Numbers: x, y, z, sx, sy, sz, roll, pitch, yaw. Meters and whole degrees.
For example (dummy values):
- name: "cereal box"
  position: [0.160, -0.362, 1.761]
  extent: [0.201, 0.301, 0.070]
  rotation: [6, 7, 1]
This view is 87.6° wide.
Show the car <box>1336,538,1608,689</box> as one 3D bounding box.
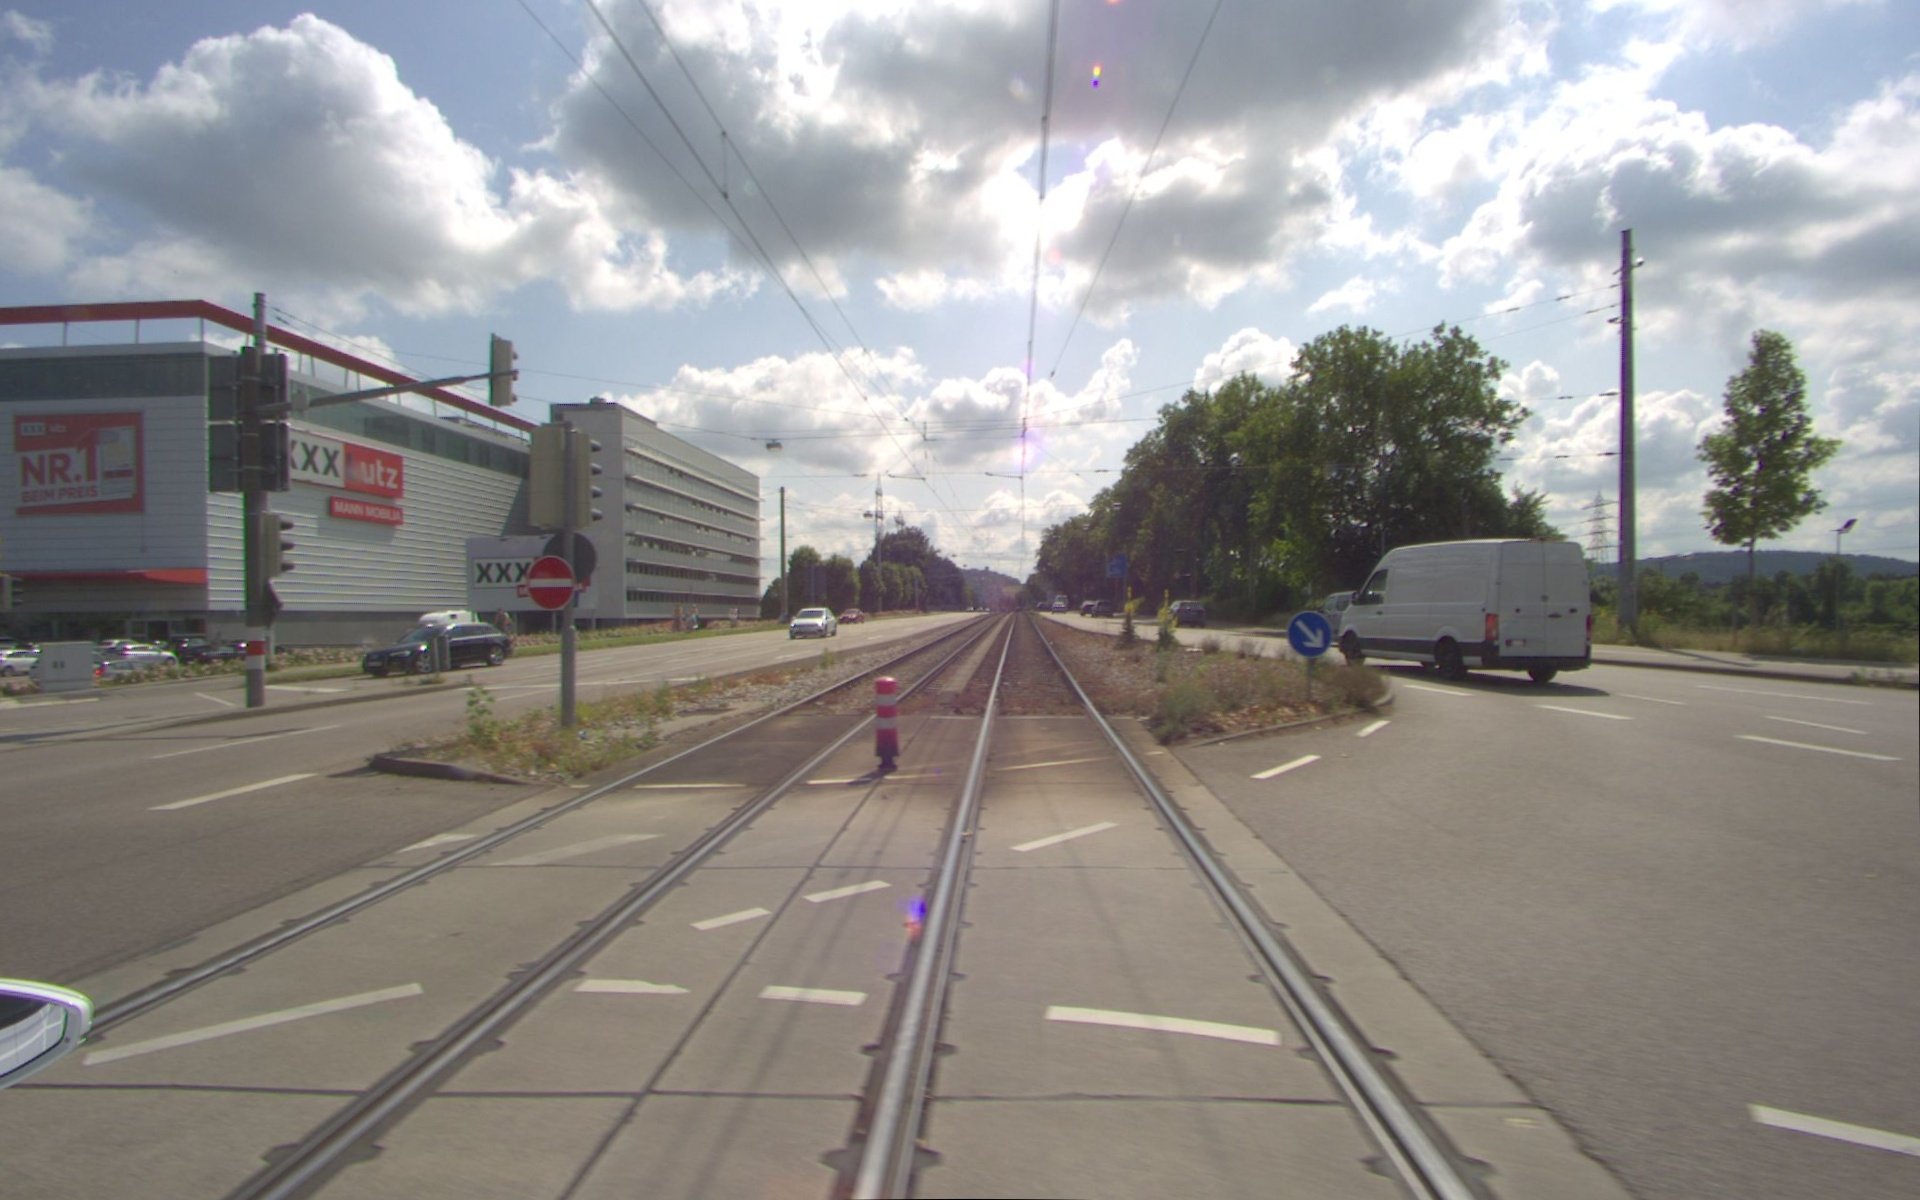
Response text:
- name: "car"
  position: [9.670, 0.203, 19.635]
  extent: [1.922, 2.525, 5.586]
  rotation: [1, 1, -7]

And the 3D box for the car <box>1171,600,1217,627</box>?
- name: "car"
  position: [13.571, 0.804, 58.291]
  extent: [1.834, 1.460, 3.823]
  rotation: [0, -2, 1]

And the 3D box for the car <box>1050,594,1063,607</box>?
- name: "car"
  position: [17.732, 0.084, 184.227]
  extent: [2.107, 2.389, 5.483]
  rotation: [-1, 0, 1]

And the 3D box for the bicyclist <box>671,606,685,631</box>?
- name: "bicyclist"
  position: [-17.693, 1.151, 62.894]
  extent: [0.609, 1.555, 0.697]
  rotation: [0, -1, 9]

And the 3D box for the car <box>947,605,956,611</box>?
- name: "car"
  position: [-1.998, 1.793, 233.471]
  extent: [1.715, 1.378, 4.248]
  rotation: [-1, 0, 4]

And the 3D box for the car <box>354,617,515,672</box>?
- name: "car"
  position: [-16.173, 1.316, 31.062]
  extent: [1.884, 1.502, 4.190]
  rotation: [-1, 0, 22]

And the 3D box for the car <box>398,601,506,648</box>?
- name: "car"
  position: [-37.082, 1.712, 73.456]
  extent: [3.062, 3.196, 7.902]
  rotation: [-1, 0, 8]

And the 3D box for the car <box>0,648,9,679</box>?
- name: "car"
  position: [-46.428, 2.994, 45.582]
  extent: [1.811, 1.446, 4.372]
  rotation: [0, 0, 7]

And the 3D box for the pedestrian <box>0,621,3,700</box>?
- name: "pedestrian"
  position: [-21.577, 1.349, 21.869]
  extent: [0.688, 1.750, 0.688]
  rotation: [-2, 0, 16]

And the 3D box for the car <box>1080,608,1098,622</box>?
- name: "car"
  position: [13.586, 1.603, 105.831]
  extent: [1.606, 1.382, 3.745]
  rotation: [0, -2, 3]

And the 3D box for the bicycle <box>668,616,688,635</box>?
- name: "bicycle"
  position: [-17.694, 1.601, 62.887]
  extent: [0.609, 1.180, 1.505]
  rotation: [0, -2, 9]

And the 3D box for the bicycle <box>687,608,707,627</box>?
- name: "bicycle"
  position: [-17.455, 1.163, 66.480]
  extent: [0.654, 0.974, 1.693]
  rotation: [-8, 5, 6]

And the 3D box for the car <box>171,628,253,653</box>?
- name: "car"
  position: [-45.324, 2.467, 60.774]
  extent: [1.882, 1.459, 4.002]
  rotation: [-1, -2, 3]

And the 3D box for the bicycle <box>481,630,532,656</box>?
- name: "bicycle"
  position: [-19.302, 1.829, 42.645]
  extent: [0.717, 1.075, 2.214]
  rotation: [-1, -2, 16]

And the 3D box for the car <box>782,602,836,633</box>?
- name: "car"
  position: [-7.480, 0.883, 50.006]
  extent: [1.975, 1.431, 4.498]
  rotation: [-1, -1, 0]

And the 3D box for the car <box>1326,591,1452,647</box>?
- name: "car"
  position: [13.302, 0.640, 31.334]
  extent: [1.961, 1.638, 4.001]
  rotation: [0, -2, -4]

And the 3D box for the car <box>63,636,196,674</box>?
- name: "car"
  position: [-36.813, 2.404, 44.538]
  extent: [2.009, 1.427, 4.372]
  rotation: [-1, 0, 7]

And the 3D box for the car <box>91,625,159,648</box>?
- name: "car"
  position: [-60.634, 2.647, 72.773]
  extent: [1.648, 1.543, 3.652]
  rotation: [-1, 0, 5]

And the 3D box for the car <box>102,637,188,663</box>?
- name: "car"
  position: [-49.885, 3.033, 61.393]
  extent: [1.882, 1.549, 4.002]
  rotation: [0, -2, 3]

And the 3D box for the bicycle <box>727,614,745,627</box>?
- name: "bicycle"
  position: [-16.750, 1.531, 74.836]
  extent: [0.585, 0.973, 1.988]
  rotation: [0, -2, 10]

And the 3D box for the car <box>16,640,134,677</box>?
- name: "car"
  position: [-42.429, 2.755, 48.137]
  extent: [1.817, 1.608, 4.239]
  rotation: [0, -1, 2]

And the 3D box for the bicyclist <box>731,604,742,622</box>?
- name: "bicyclist"
  position: [-16.741, 0.981, 74.963]
  extent: [0.581, 1.342, 0.687]
  rotation: [0, -1, 10]

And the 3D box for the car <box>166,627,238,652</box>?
- name: "car"
  position: [-55.007, 2.837, 72.758]
  extent: [1.961, 1.761, 4.001]
  rotation: [0, -2, 7]

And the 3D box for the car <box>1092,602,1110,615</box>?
- name: "car"
  position: [13.453, 0.790, 95.658]
  extent: [1.399, 1.154, 3.398]
  rotation: [0, -2, 2]

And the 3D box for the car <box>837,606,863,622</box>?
- name: "car"
  position: [-10.539, 1.354, 96.210]
  extent: [1.715, 1.378, 4.250]
  rotation: [-2, -1, 4]

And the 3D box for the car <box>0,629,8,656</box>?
- name: "car"
  position: [-72.872, 3.201, 73.567]
  extent: [1.961, 2.040, 3.999]
  rotation: [-1, 0, 4]

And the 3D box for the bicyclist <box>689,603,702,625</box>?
- name: "bicyclist"
  position: [-17.541, 0.933, 66.481]
  extent: [0.638, 1.494, 0.743]
  rotation: [0, -1, 6]

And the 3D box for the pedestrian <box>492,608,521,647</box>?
- name: "pedestrian"
  position: [-19.317, 1.181, 42.650]
  extent: [0.692, 1.612, 0.945]
  rotation: [-1, -1, 17]

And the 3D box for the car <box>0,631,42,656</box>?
- name: "car"
  position: [-70.166, 3.185, 73.417]
  extent: [1.961, 1.746, 3.999]
  rotation: [-1, 0, 4]

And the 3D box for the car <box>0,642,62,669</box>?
- name: "car"
  position: [-52.771, 3.069, 55.790]
  extent: [1.636, 1.470, 4.001]
  rotation: [0, -2, 6]
